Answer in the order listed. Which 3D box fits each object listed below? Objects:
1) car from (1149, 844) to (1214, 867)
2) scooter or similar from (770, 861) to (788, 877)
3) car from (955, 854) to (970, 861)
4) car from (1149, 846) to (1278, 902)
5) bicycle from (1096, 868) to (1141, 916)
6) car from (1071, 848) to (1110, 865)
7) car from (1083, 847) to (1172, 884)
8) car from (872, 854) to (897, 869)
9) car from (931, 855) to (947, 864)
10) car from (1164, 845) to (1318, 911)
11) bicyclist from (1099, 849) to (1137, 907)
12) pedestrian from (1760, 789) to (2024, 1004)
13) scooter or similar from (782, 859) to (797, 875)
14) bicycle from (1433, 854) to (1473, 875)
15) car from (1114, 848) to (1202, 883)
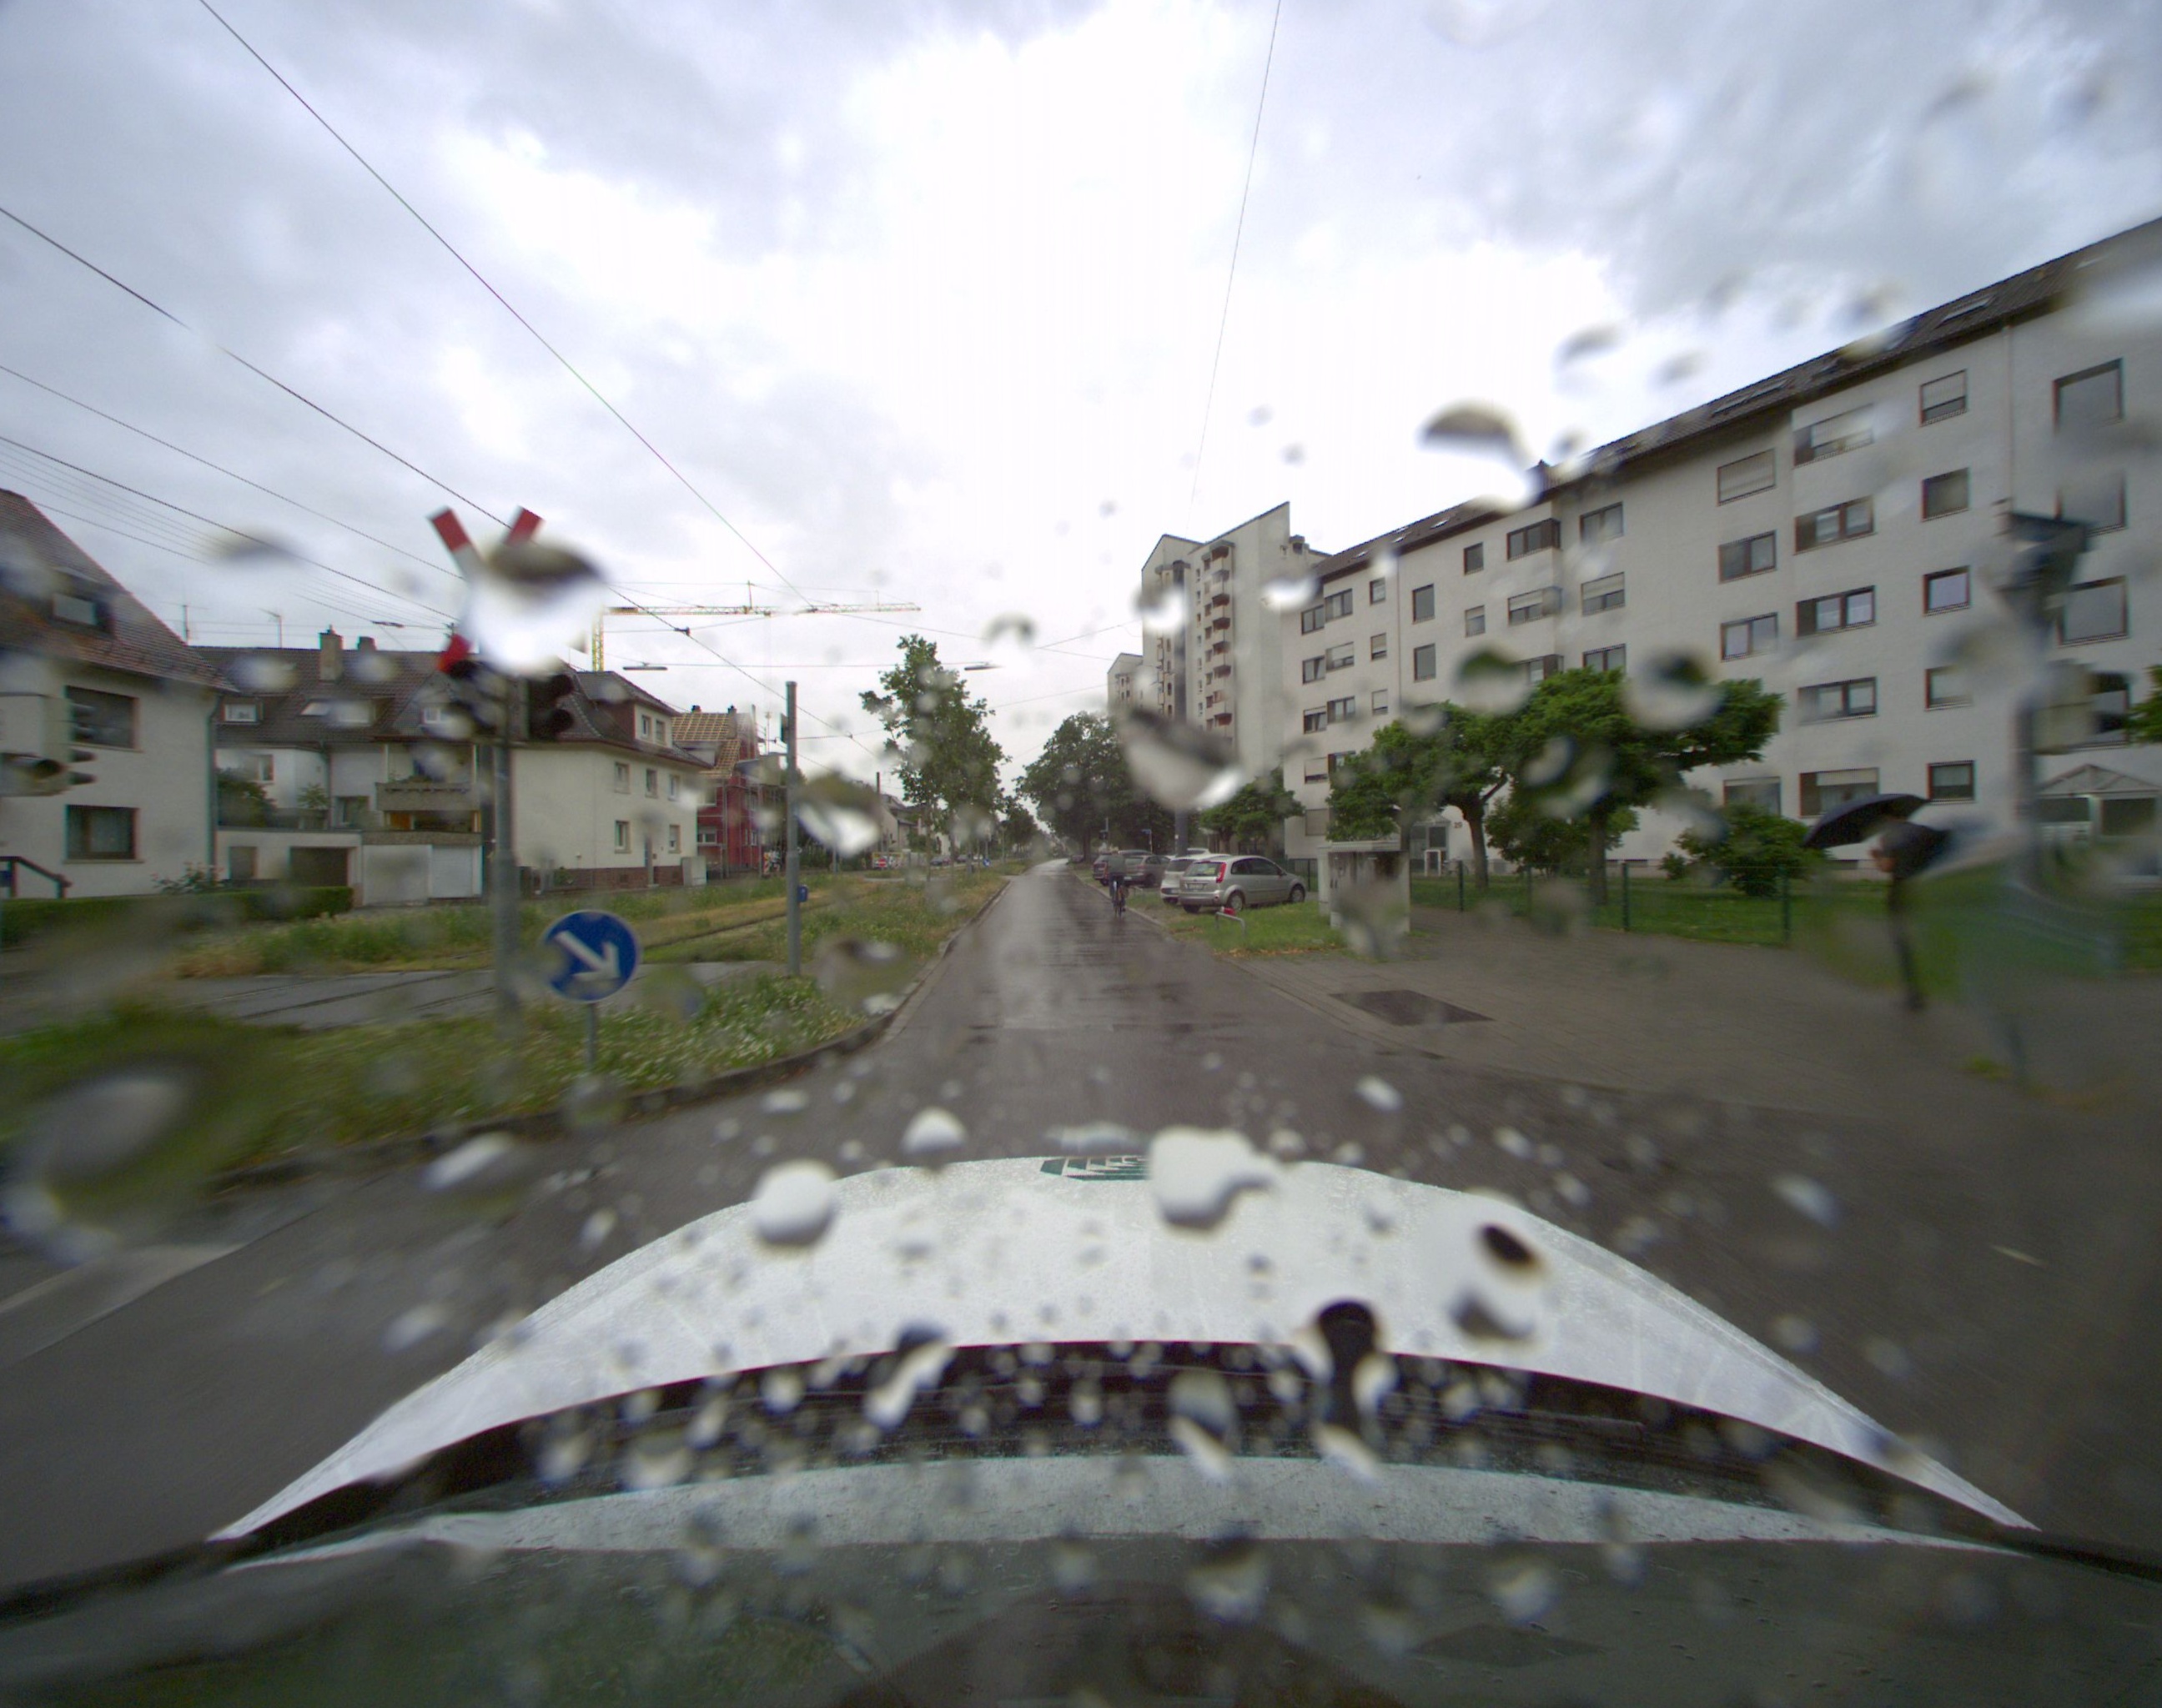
[{"bbox_3d":[8.126,0.101,66.080,4.815,1.745,1.988,-1,0,-18],"label":"car"},{"bbox_3d":[-21.882,1.059,59.012,0.436,1.129,1.290,-1,0,28],"label":"scooter or similar"},{"bbox_3d":[-20.854,0.639,143.409,1.889,1.244,4.689,1,0,2],"label":"car"},{"bbox_3d":[4.090,0.588,24.844,4.022,1.508,1.685,-2,-2,-42],"label":"car"},{"bbox_3d":[0.937,0.940,21.021,0.808,1.096,2.513,-2,0,-5],"label":"bicycle"},{"bbox_3d":[1.171,0.265,98.121,4.165,1.719,1.979,-4,2,-34],"label":"car"},{"bbox_3d":[2.332,0.520,39.782,4.375,1.651,1.835,-2,0,-44],"label":"car"},{"bbox_3d":[-21.175,0.754,87.922,1.705,1.542,4.421,1,0,0],"label":"car"},{"bbox_3d":[-20.513,0.773,117.512,1.658,1.244,4.070,1,0,-1],"label":"car"},{"bbox_3d":[4.279,0.611,21.498,4.020,1.508,1.763,-2,-2,-39],"label":"car"},{"bbox_3d":[0.927,0.592,20.937,0.808,1.432,1.058,-2,0,-5],"label":"bicyclist"},{"bbox_3d":[7.483,0.363,7.642,1.093,1.813,1.436,-1,0,7],"label":"pedestrian"},{"bbox_3d":[-22.219,1.009,62.098,0.391,1.180,1.287,-1,0,13],"label":"scooter or similar"},{"bbox_3d":[16.177,0.449,35.435,0.492,0.847,1.557,-2,0,-28],"label":"bicycle"},{"bbox_3d":[3.525,0.493,36.707,4.023,1.429,1.713,-2,1,-44],"label":"car"}]
